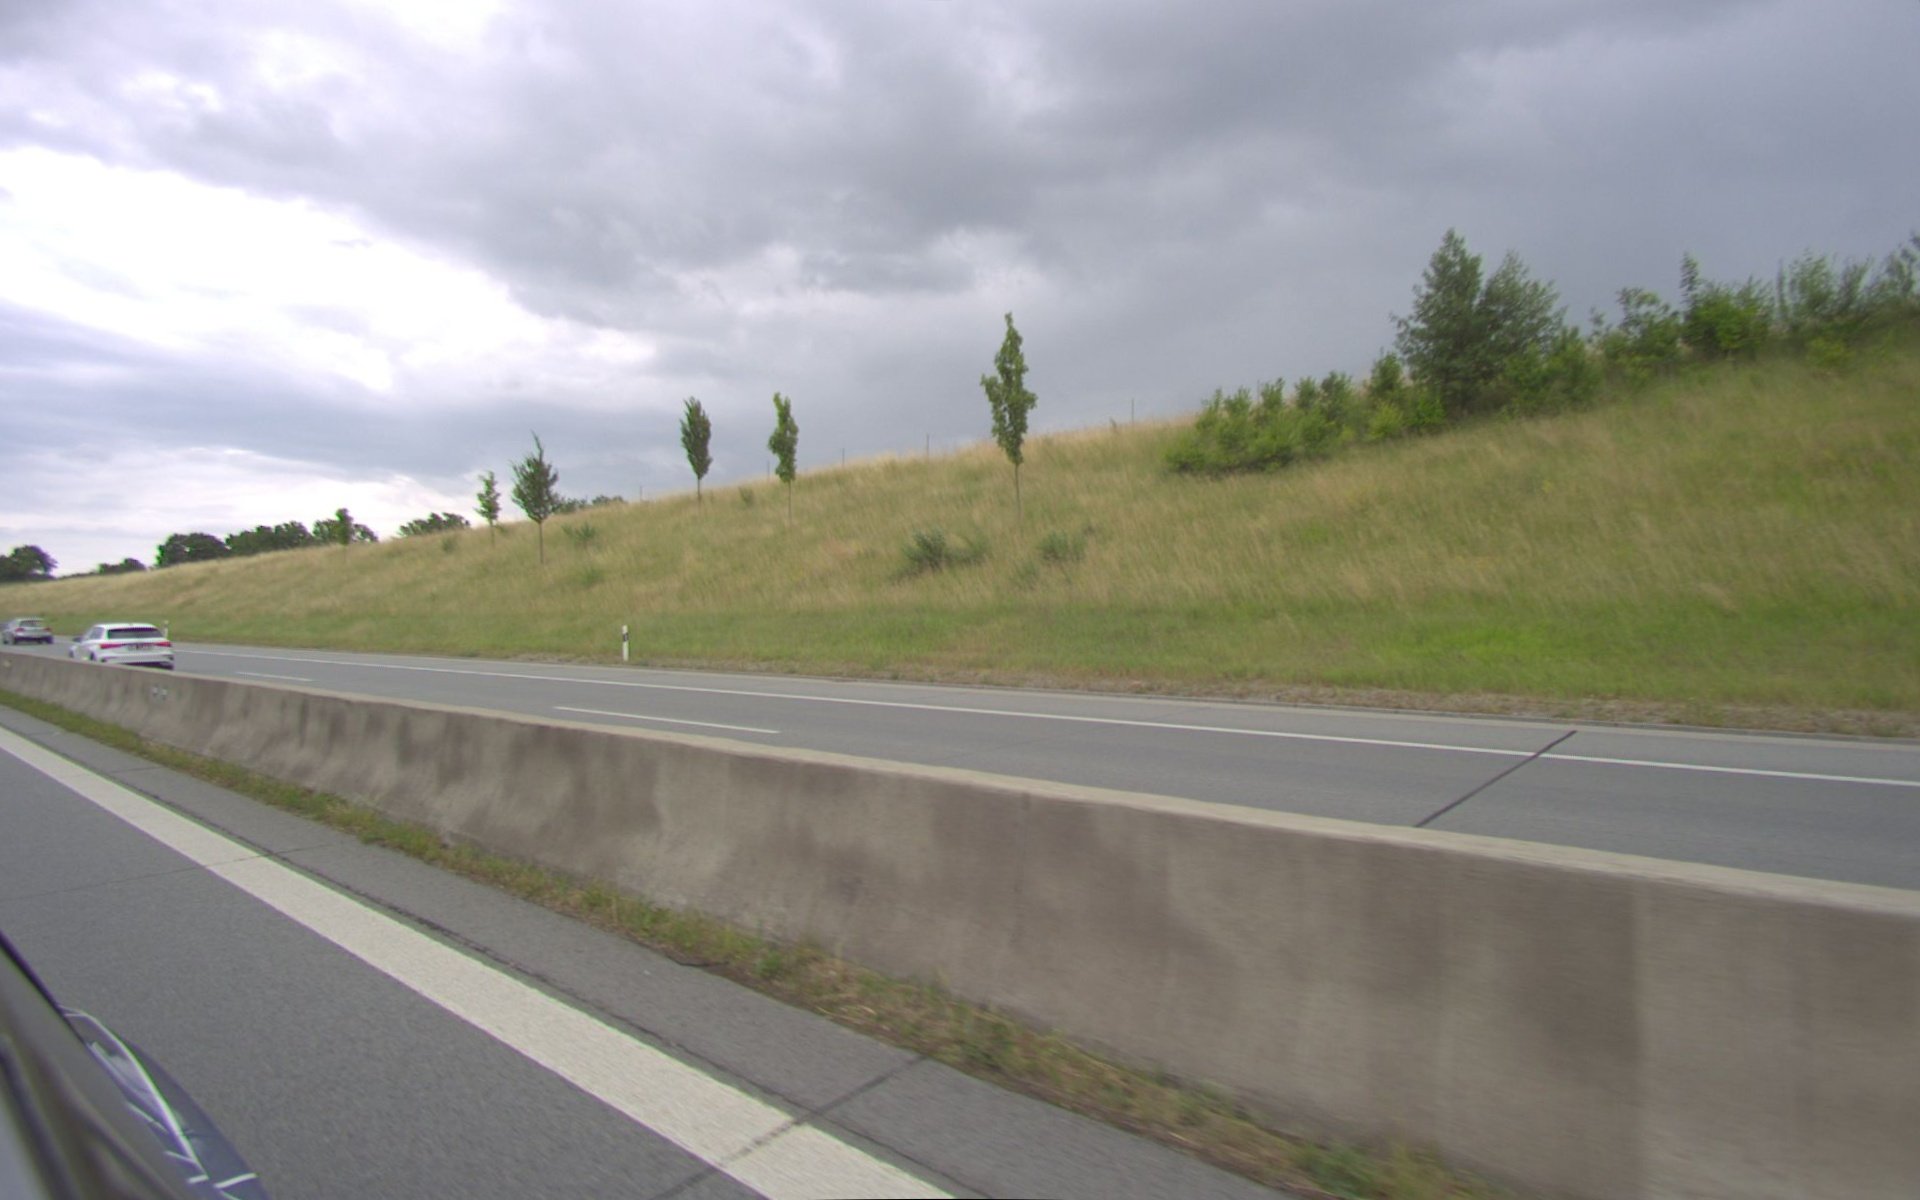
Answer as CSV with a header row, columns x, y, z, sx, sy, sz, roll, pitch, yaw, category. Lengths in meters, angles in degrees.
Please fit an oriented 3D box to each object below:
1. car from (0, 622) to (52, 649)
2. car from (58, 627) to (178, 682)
x,y,z,sx,sy,sz,roll,pitch,yaw,category
-52.429,1.973,56.739,3.641,1.451,1.682,-1,-2,39,car
-23.935,1.474,28.698,4.905,1.421,1.765,-1,-2,40,car
